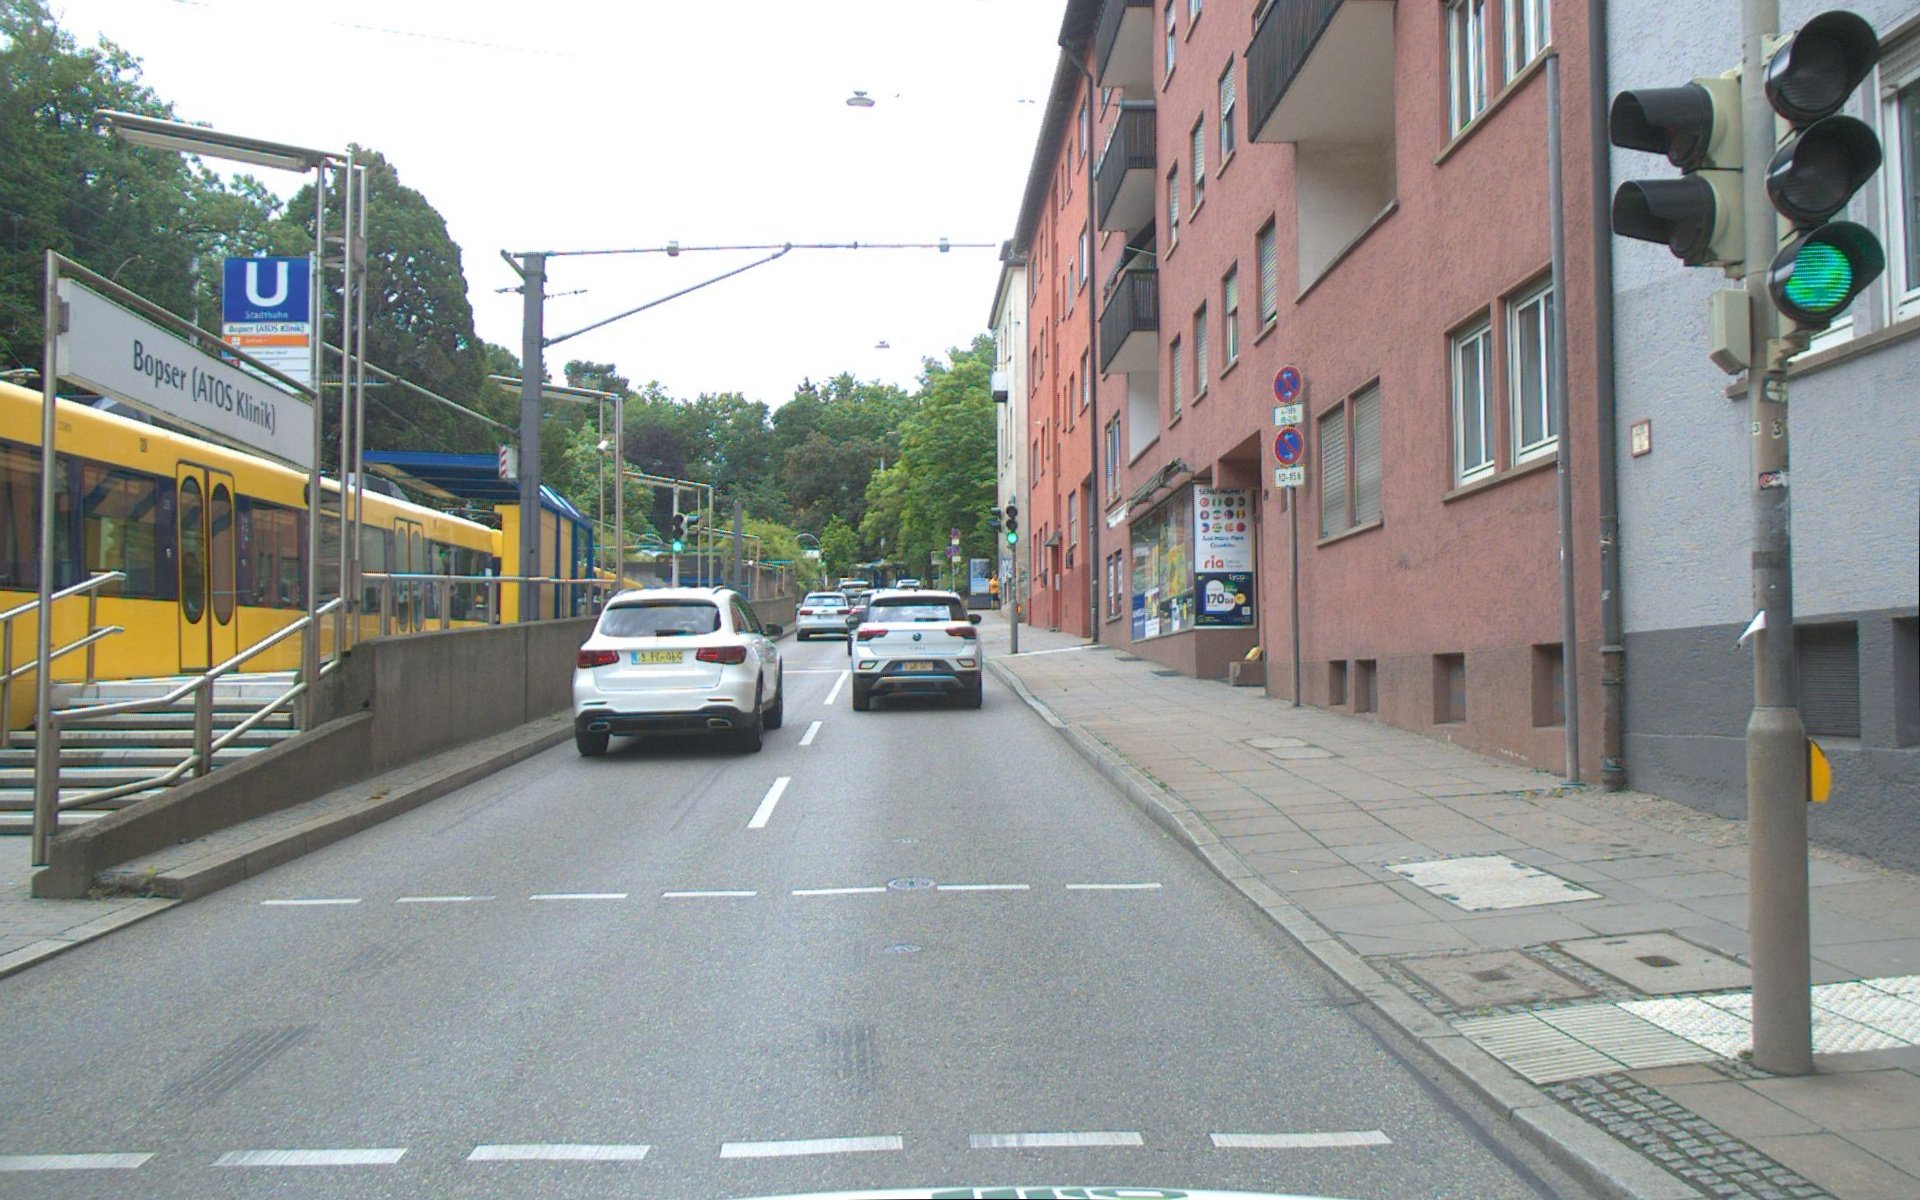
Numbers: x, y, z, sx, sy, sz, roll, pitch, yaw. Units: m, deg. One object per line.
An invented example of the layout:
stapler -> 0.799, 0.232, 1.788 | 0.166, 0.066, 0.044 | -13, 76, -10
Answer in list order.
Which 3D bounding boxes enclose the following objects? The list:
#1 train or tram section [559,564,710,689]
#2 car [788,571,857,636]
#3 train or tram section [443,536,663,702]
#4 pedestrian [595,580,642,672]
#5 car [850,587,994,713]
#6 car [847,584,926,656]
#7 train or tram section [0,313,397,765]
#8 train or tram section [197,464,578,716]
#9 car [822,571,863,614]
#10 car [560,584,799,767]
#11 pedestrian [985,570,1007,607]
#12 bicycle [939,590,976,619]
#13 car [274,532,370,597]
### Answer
train or tram section -> -10.400, 0.883, 54.375 | 2.890, 3.570, 12.978 | -1, -1, -2
car -> -4.275, 0.086, 51.992 | 1.953, 1.914, 3.998 | 1, 1, -2
train or tram section -> -9.868, 0.595, 41.779 | 2.890, 3.545, 12.212 | -1, -2, -2
pedestrian -> -6.825, 0.512, 33.071 | 0.784, 1.808, 0.818 | 0, 0, -2
car -> -0.509, 0.623, 23.087 | 1.827, 1.583, 3.894 | -1, 0, -1
car -> -1.768, 0.450, 40.554 | 1.823, 1.660, 3.958 | 0, 0, -2
train or tram section -> -9.230, -0.338, 17.140 | 2.890, 3.606, 12.391 | 0, -2, -2
train or tram section -> -9.491, 0.163, 29.514 | 2.890, 3.533, 12.211 | -1, -3, -2
car -> -5.419, -0.340, 76.668 | 1.714, 1.914, 3.998 | 1, 1, -2
car -> -2.858, 0.694, 17.786 | 1.839, 1.681, 4.341 | -1, 0, -1
pedestrian -> 1.707, -0.539, 78.101 | 0.819, 1.742, 0.818 | -2, 0, -16
bicycle -> -0.116, 0.186, 70.873 | 0.632, 1.162, 2.047 | -8, 3, -27
car -> -22.027, -1.191, 57.258 | 1.954, 2.049, 3.997 | 2, -1, -4
